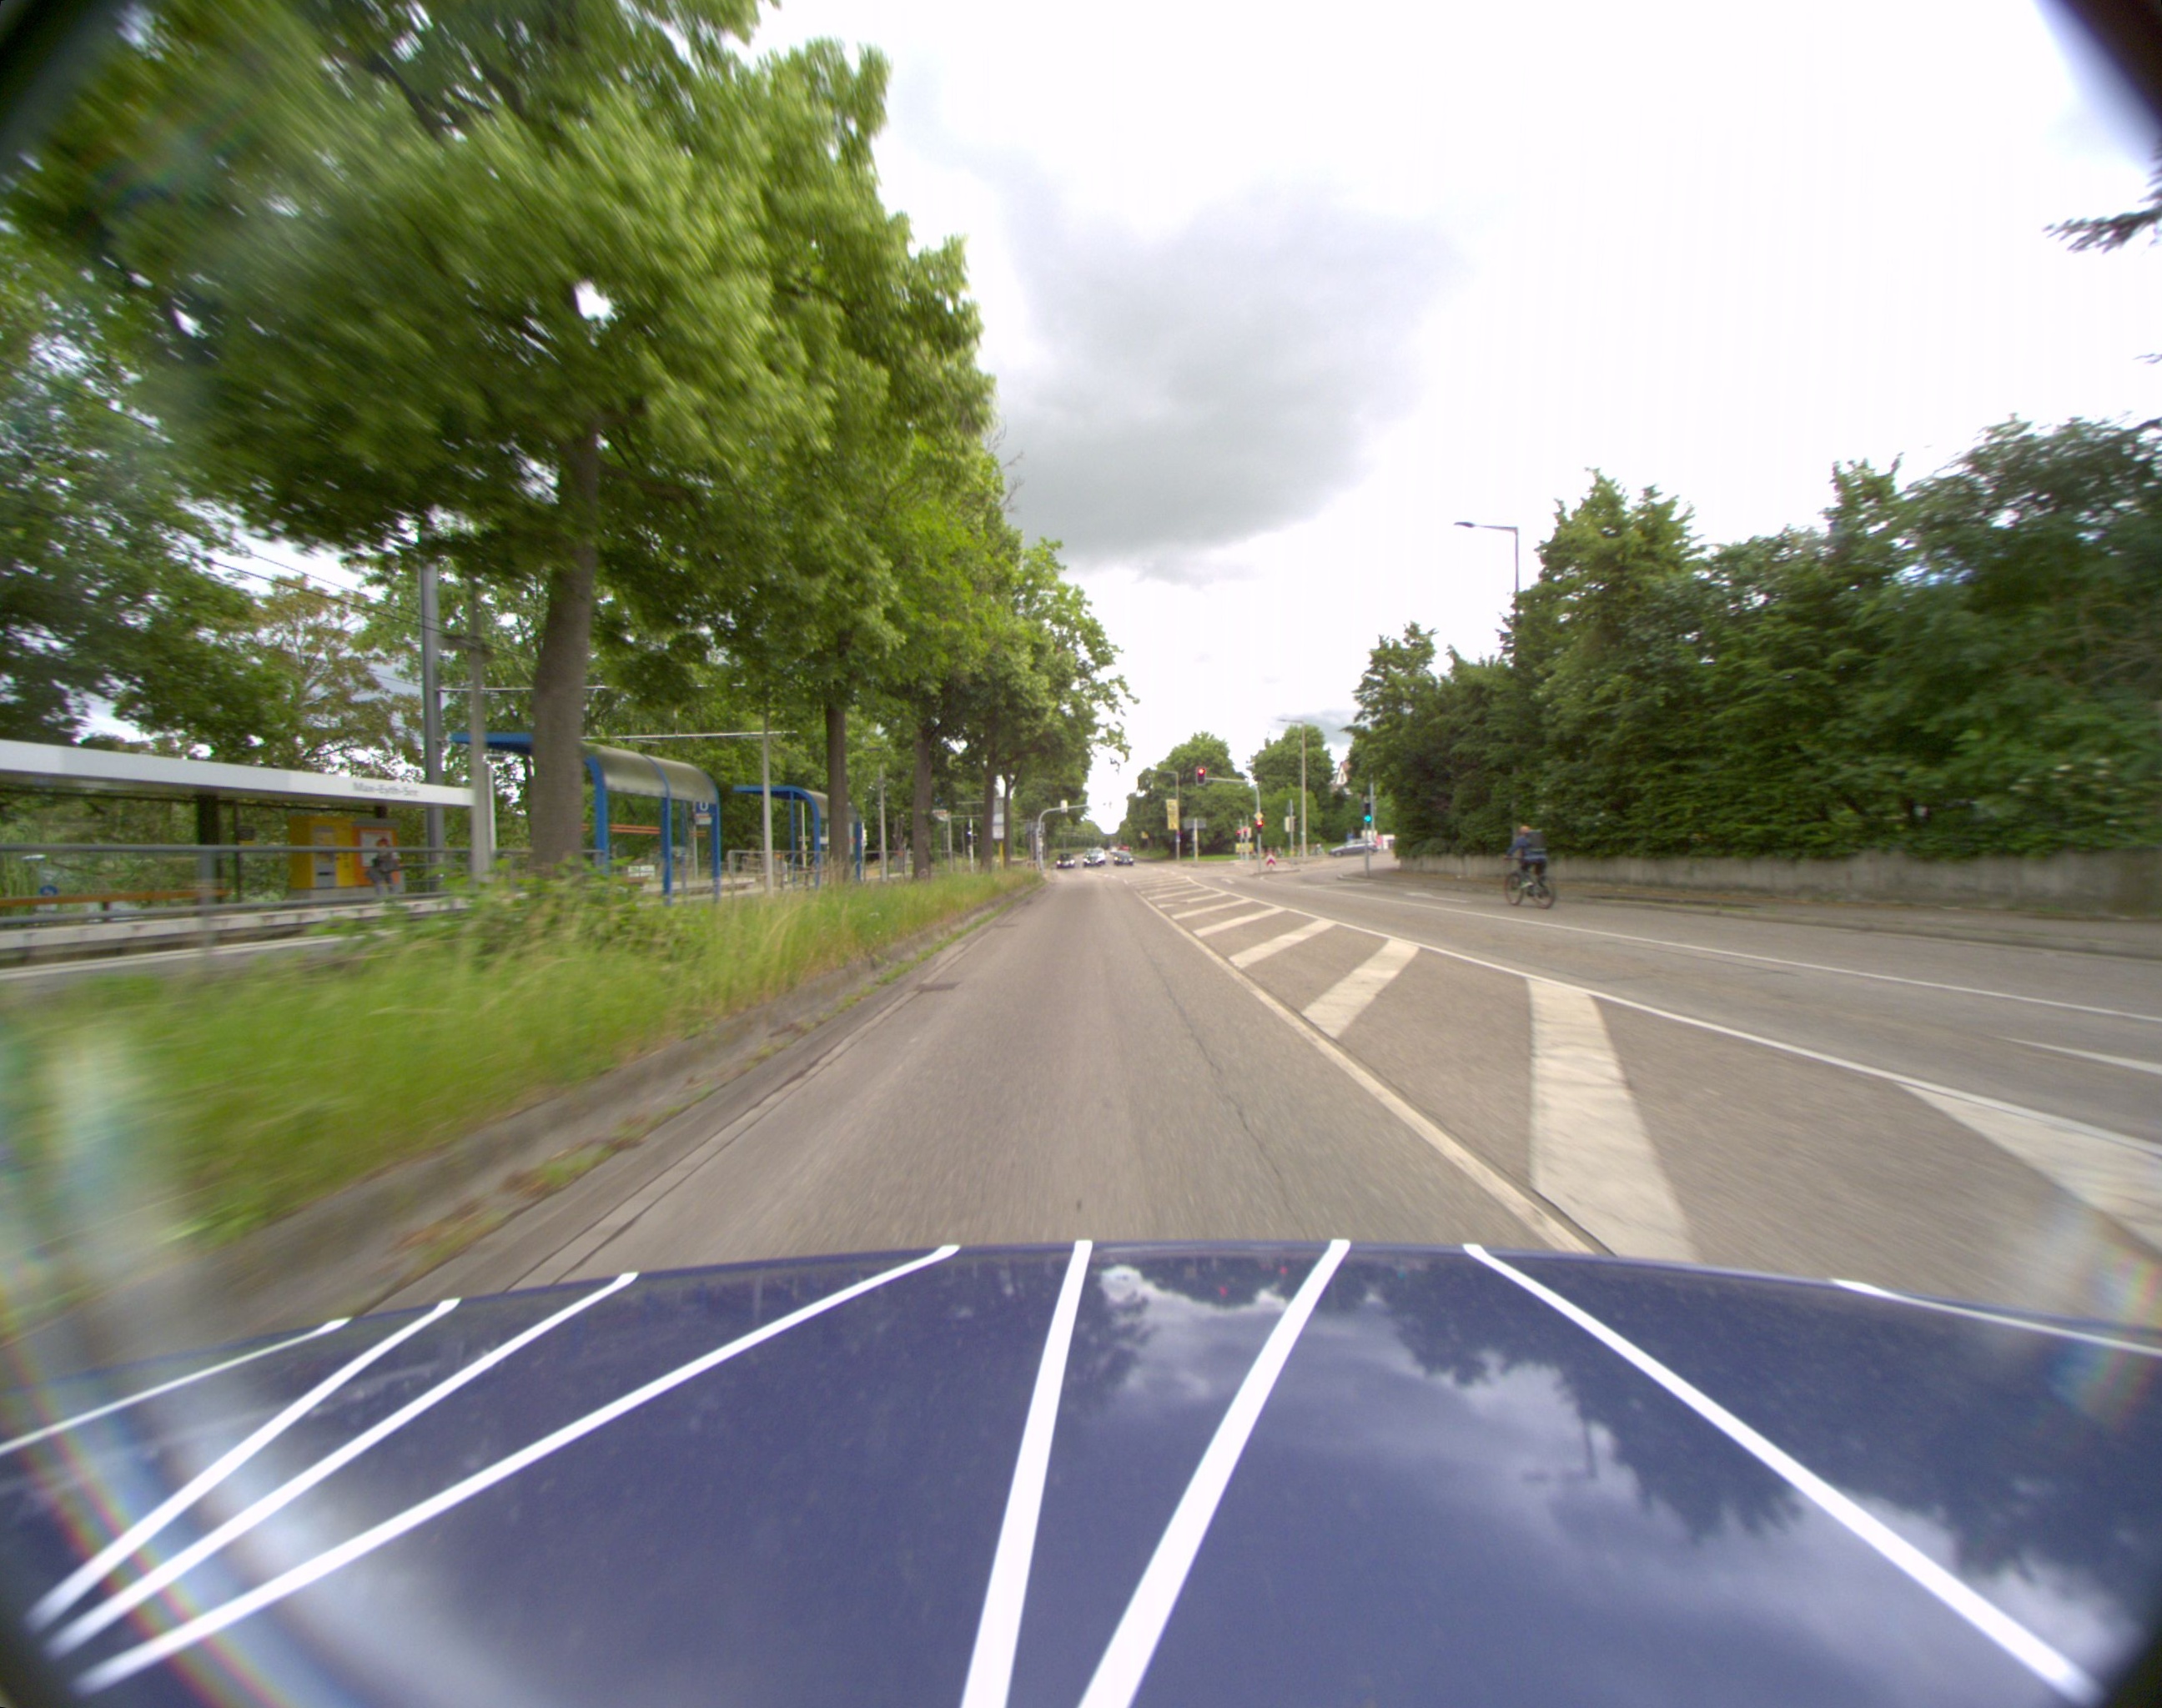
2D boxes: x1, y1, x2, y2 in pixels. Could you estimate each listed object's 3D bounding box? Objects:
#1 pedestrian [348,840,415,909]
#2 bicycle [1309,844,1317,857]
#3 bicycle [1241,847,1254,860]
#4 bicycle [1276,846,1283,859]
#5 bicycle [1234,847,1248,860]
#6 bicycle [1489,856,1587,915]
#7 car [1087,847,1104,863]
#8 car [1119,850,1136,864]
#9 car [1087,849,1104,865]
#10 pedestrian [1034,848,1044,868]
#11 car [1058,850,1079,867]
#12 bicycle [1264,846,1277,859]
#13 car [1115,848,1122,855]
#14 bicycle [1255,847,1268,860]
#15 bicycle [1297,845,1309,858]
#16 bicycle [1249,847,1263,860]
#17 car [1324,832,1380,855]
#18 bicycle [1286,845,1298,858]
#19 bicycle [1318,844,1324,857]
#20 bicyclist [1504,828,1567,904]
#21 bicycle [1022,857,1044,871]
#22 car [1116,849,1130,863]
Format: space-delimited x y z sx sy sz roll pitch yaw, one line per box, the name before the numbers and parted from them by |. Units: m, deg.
pedestrian | -15.859 0.453 17.240 0.720 1.503 0.724 -3 1 3
bicycle | 24.025 -0.350 78.703 0.544 1.245 1.938 -3 1 23
bicycle | 17.937 -0.063 81.821 0.544 1.245 1.939 -3 1 38
bicycle | 20.921 -0.182 79.945 0.545 1.245 1.937 -3 1 18
bicycle | 17.302 -0.050 82.126 0.544 1.245 1.939 -2 1 38
bicycle | 9.702 0.631 16.237 0.644 1.138 2.147 -3 0 -4
car | 1.675 0.089 88.065 1.912 1.832 5.281 -2 1 1
car | 4.718 0.274 77.535 1.560 1.458 3.807 0 0 1
car | 1.475 0.309 77.434 1.708 1.472 3.667 -2 0 1
pedestrian | -3.789 0.353 68.119 0.753 1.727 0.840 1 1 5
car | -1.186 0.402 75.882 1.807 1.520 3.929 -3 1 3
bicycle | 20.015 -0.134 80.346 0.544 1.245 1.939 -2 1 38
car | 9.380 -0.701 188.543 1.595 1.614 3.929 -3 0 2
bicycle | 19.216 -0.093 80.814 0.544 1.245 1.939 -2 1 38
bicycle | 23.085 -0.297 78.961 0.544 1.245 1.939 -2 1 34
bicycle | 18.748 -0.073 81.373 0.544 1.245 1.939 -2 1 38
car | 24.908 -0.943 69.979 4.736 1.842 2.002 -3 1 20
bicycle | 22.075 -0.244 79.425 0.544 1.245 1.939 -2 1 34
bicycle | 24.782 -0.391 78.403 0.545 1.245 1.937 -3 1 17
bicyclist | 9.679 0.254 16.211 0.644 1.526 0.978 -4 1 -4
bicycle | -3.777 0.787 59.377 1.679 1.084 0.602 1 1 -3
car | 4.686 0.193 85.152 1.595 1.459 3.929 0 1 2
